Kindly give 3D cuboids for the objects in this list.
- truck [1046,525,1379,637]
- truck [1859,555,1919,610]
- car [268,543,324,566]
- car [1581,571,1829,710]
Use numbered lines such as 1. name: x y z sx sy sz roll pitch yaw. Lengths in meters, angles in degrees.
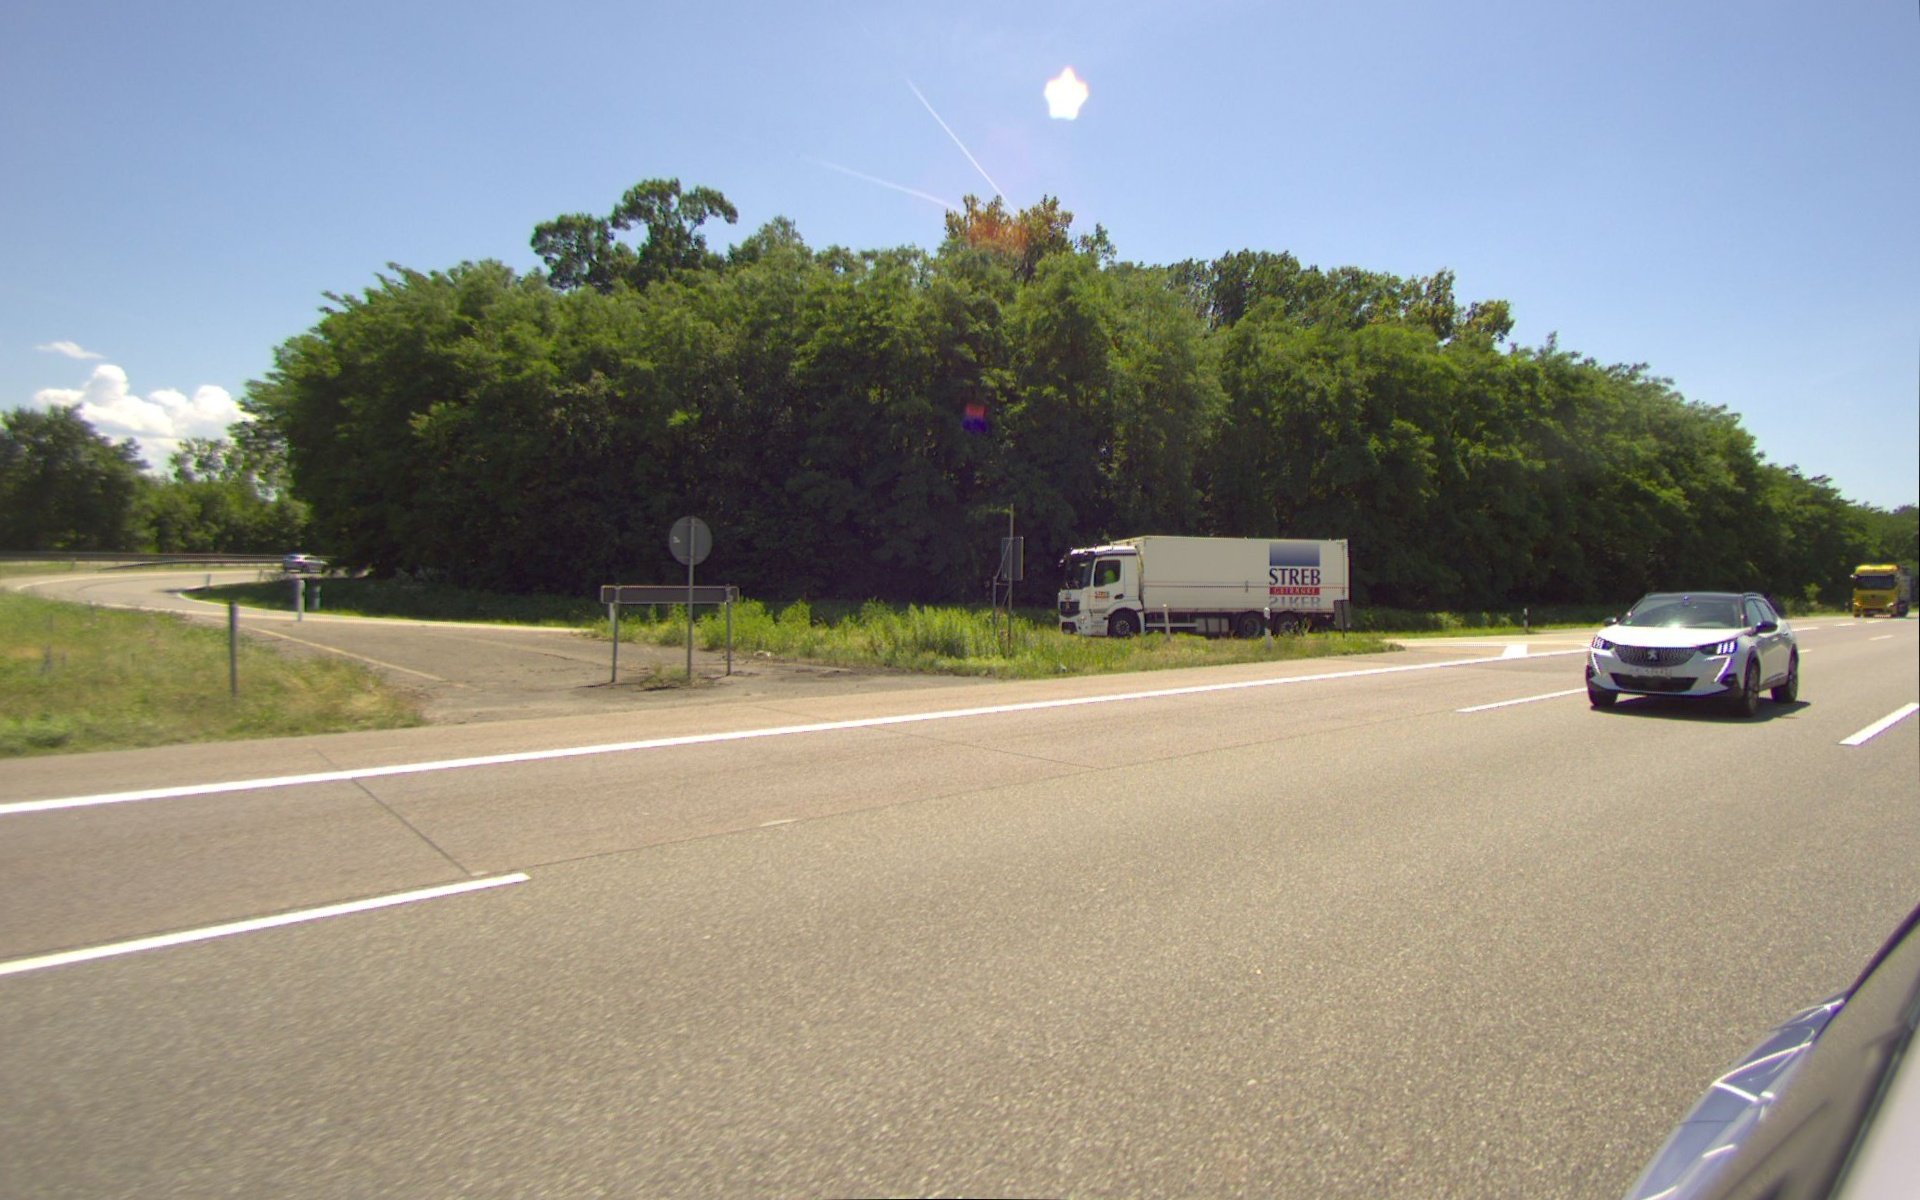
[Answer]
1. truck: 8.316 -0.605 33.336 10.543 3.361 3.044 0 0 -16
2. truck: 73.194 -1.312 79.005 10.786 4.088 2.980 0 0 -40
3. car: -57.589 -3.928 87.882 1.965 1.905 3.993 0 0 6
4. car: 10.514 0.441 14.137 4.725 1.628 1.830 0 1 -41
